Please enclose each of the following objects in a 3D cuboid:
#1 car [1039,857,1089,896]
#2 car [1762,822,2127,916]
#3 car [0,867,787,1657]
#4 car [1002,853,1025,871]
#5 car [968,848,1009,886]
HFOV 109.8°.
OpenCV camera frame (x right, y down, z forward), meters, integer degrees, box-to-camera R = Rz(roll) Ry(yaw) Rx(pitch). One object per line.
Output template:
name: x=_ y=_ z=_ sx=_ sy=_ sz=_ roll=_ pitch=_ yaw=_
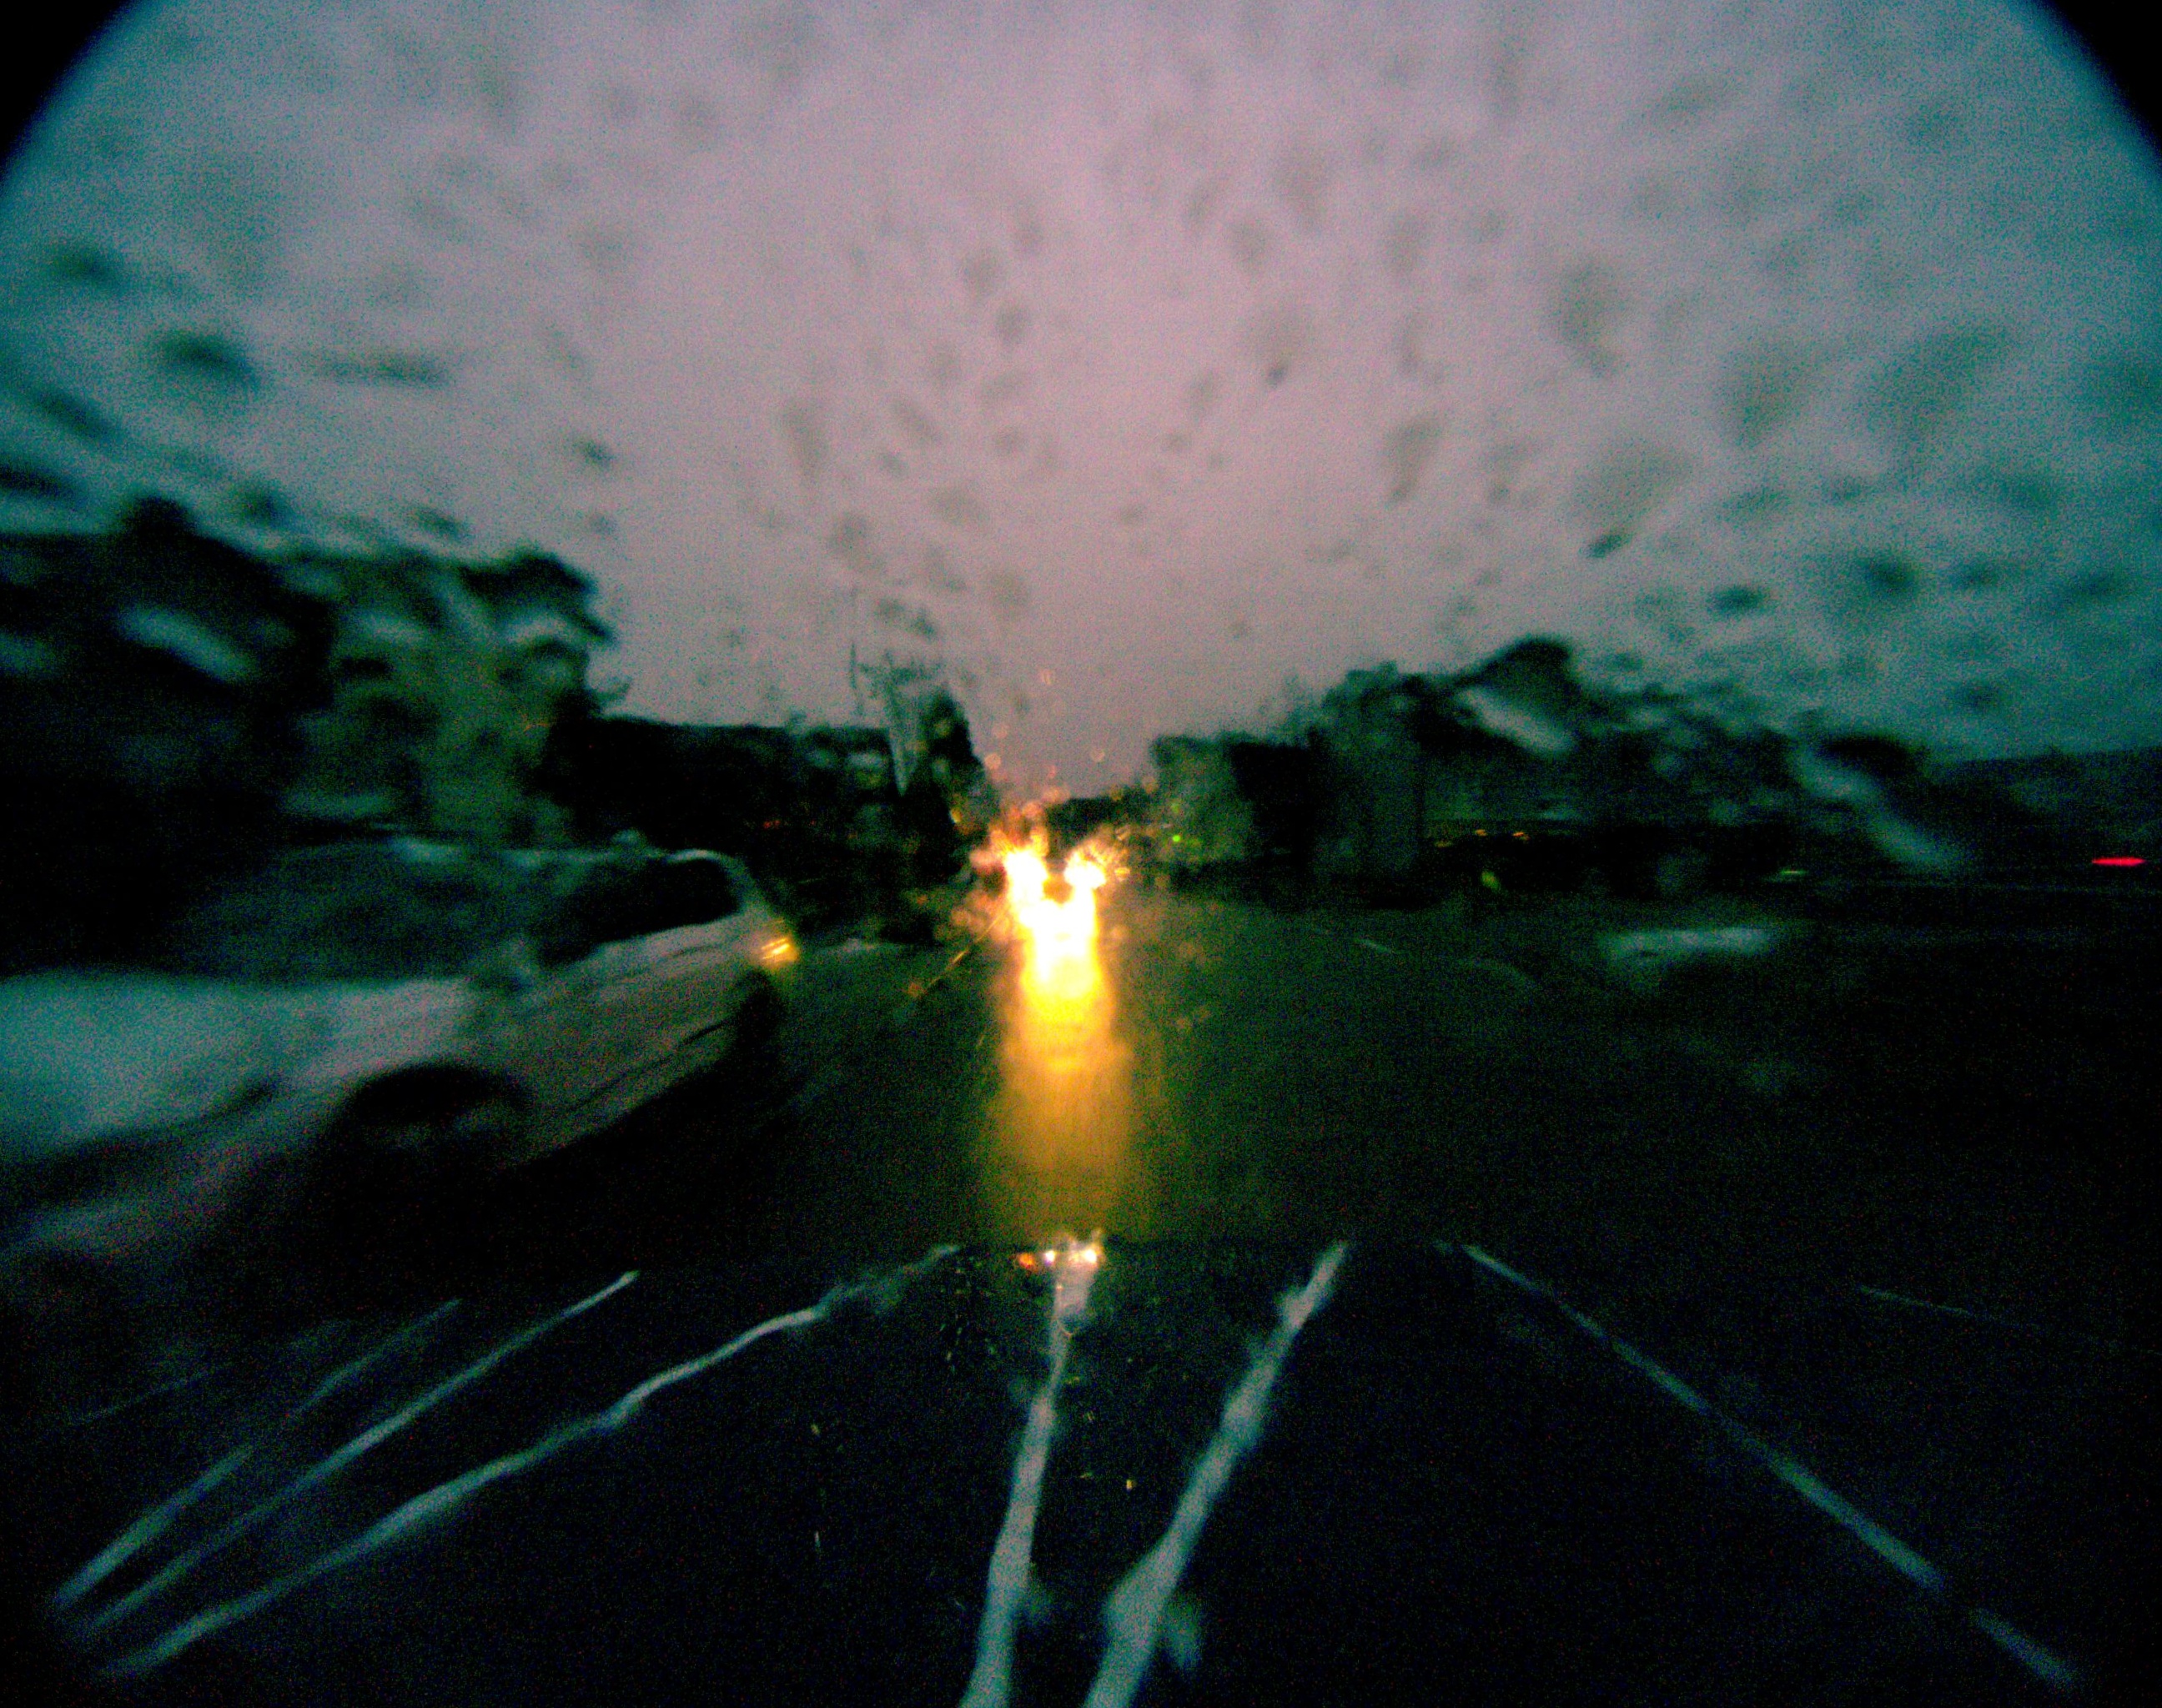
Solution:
car: x=-0.712 y=0.952 z=32.700 sx=1.999 sy=1.525 sz=4.000 roll=-1 pitch=-1 yaw=-1
car: x=16.628 y=0.311 z=15.041 sx=4.335 sy=1.611 sz=2.004 roll=-2 pitch=0 yaw=29
car: x=-3.110 y=0.890 z=3.399 sx=1.811 sy=1.555 sz=4.305 roll=1 pitch=0 yaw=1
car: x=-6.480 y=0.773 z=73.638 sx=1.906 sy=1.630 sz=4.566 roll=1 pitch=0 yaw=-2
car: x=-4.665 y=0.654 z=38.732 sx=1.917 sy=1.780 sz=4.564 roll=1 pitch=0 yaw=-6
